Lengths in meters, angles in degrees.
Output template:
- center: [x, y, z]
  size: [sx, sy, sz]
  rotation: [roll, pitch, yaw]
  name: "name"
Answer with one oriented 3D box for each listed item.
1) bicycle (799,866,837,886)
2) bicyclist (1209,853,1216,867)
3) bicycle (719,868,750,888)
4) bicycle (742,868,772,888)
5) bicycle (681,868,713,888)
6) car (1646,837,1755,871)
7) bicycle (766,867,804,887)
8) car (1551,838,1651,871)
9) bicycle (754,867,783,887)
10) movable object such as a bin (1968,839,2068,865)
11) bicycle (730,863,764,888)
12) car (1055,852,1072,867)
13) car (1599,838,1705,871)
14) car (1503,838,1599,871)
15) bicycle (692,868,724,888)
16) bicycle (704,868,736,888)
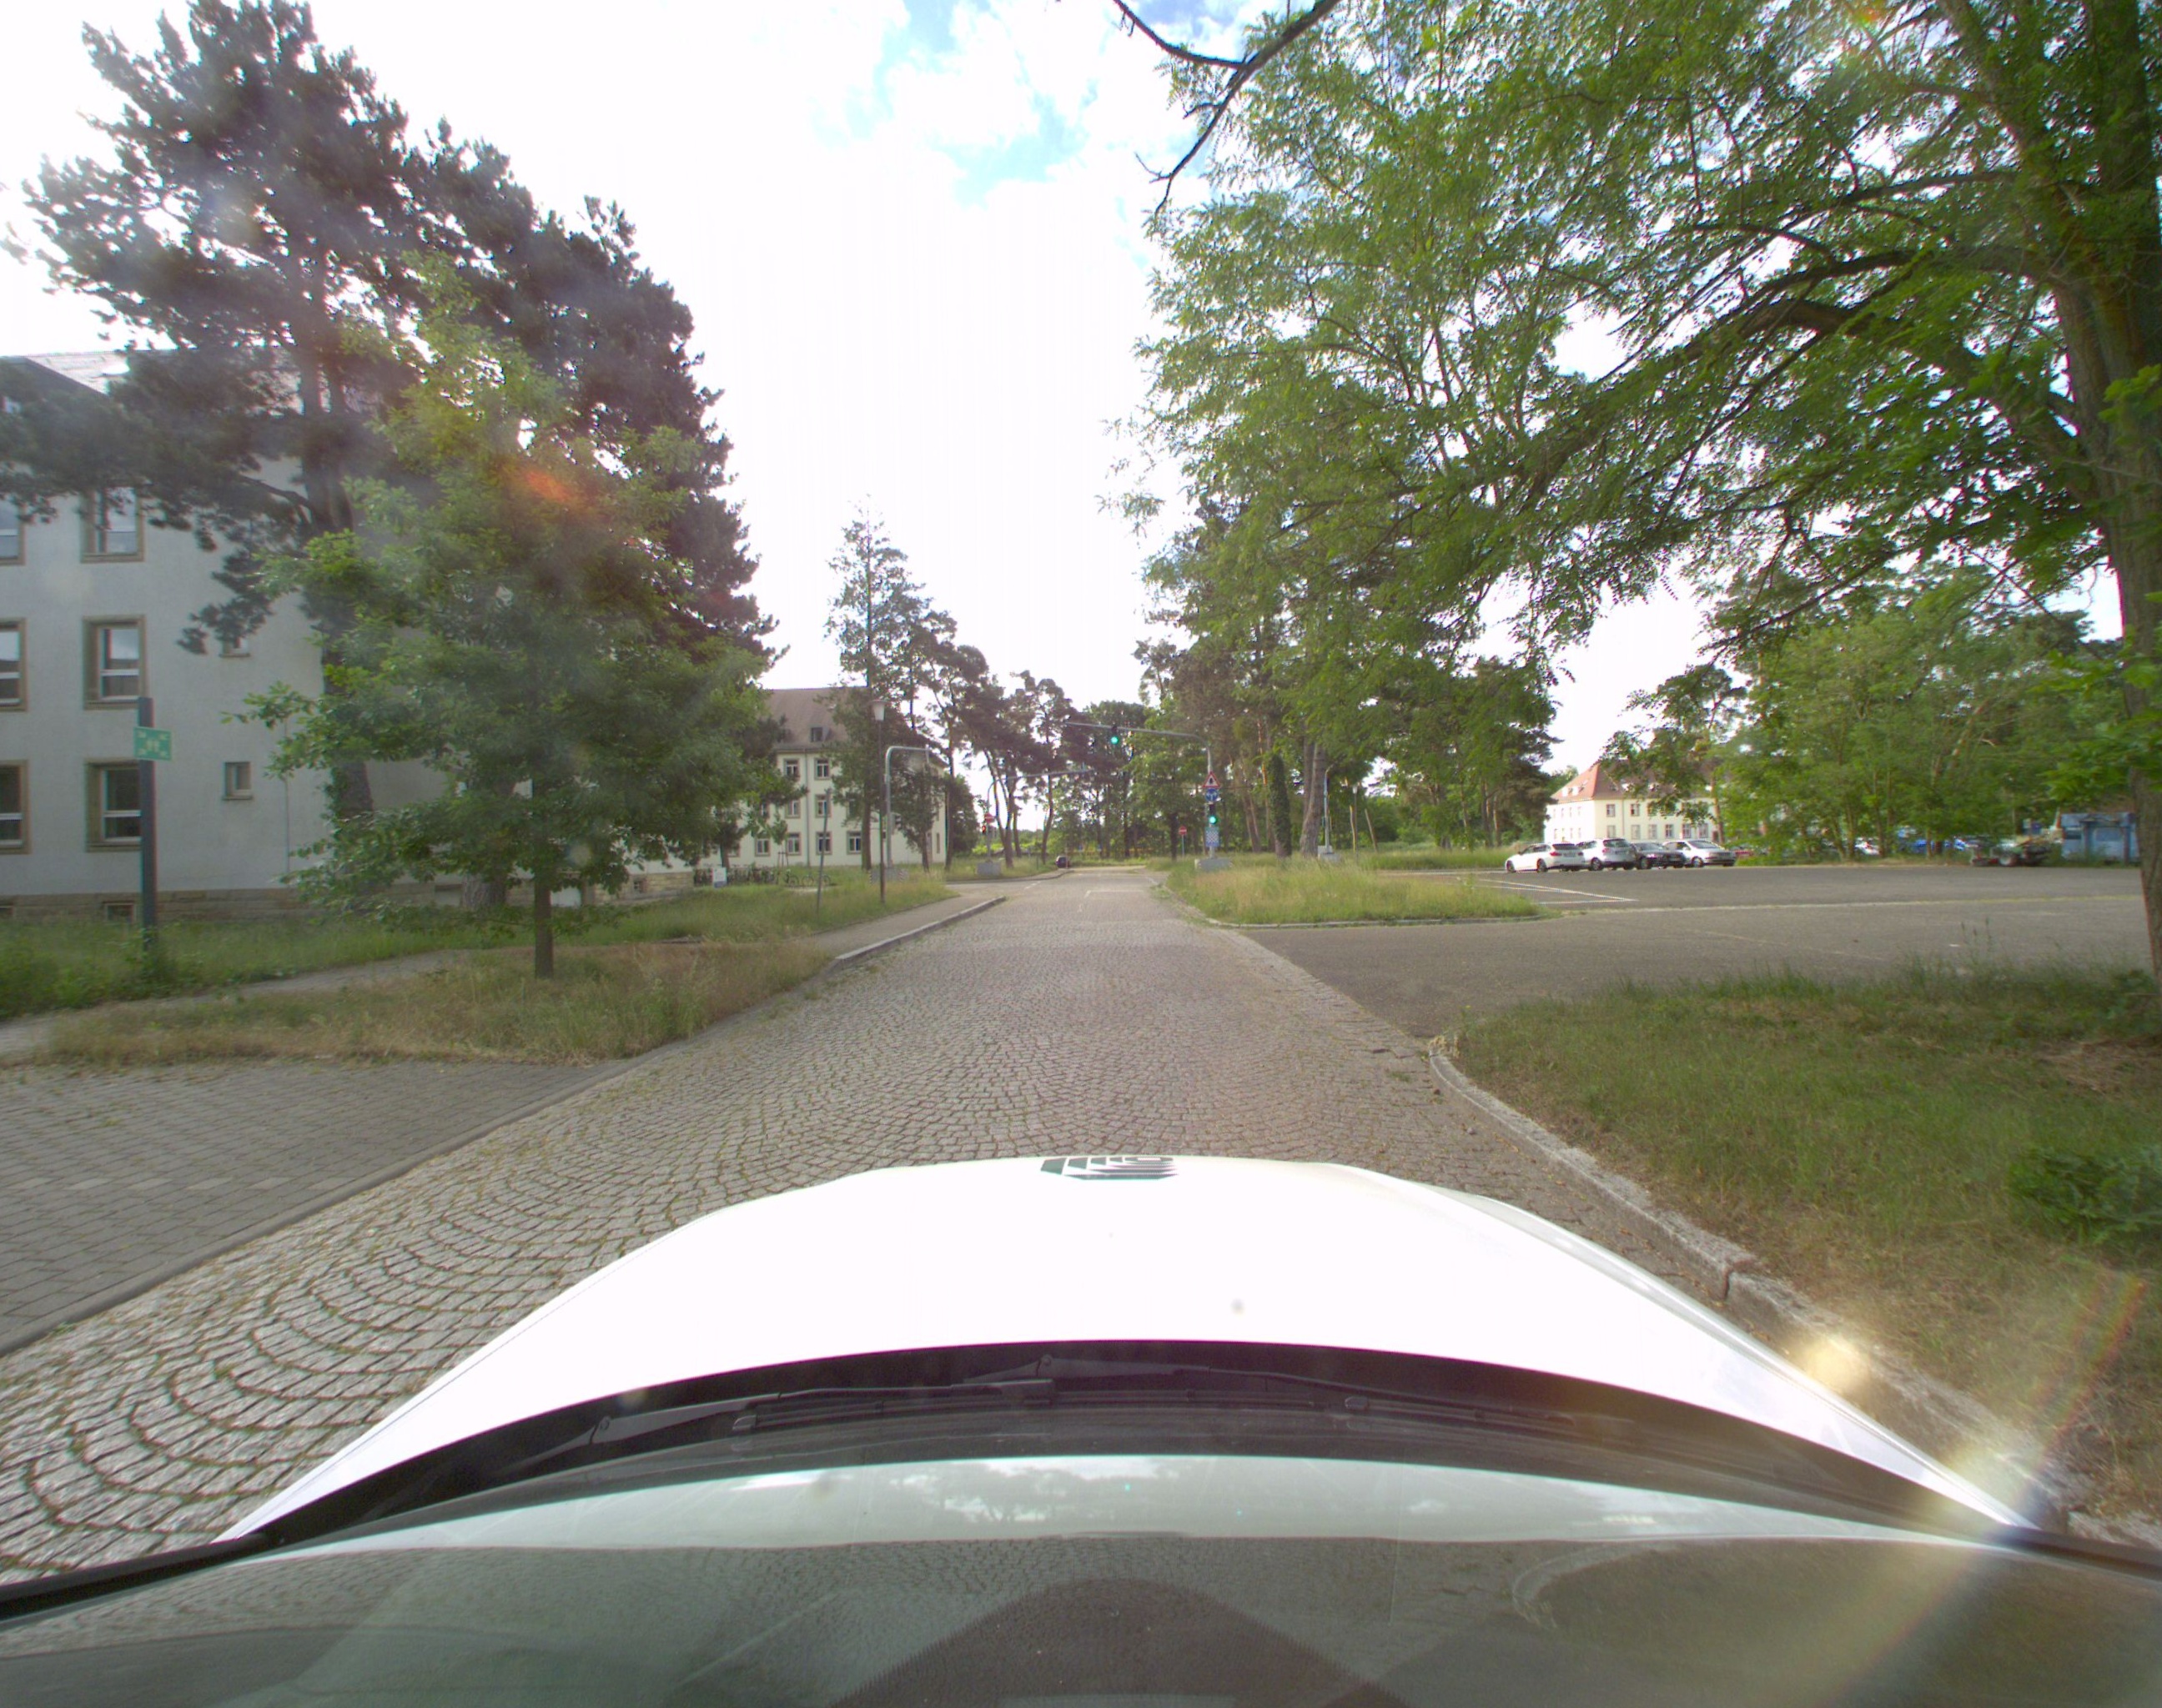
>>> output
- center: [-15.104, 1.261, 46.757]
  size: [1.848, 1.076, 0.832]
  rotation: [-2, 0, 3]
  name: "bicycle"
- center: [16.244, 0.738, 100.701]
  size: [0.750, 1.671, 0.523]
  rotation: [0, -1, -16]
  name: "bicyclist"
- center: [-20.597, 1.402, 48.474]
  size: [0.733, 1.076, 2.274]
  rotation: [-2, 0, 2]
  name: "bicycle"
- center: [-19.071, 1.381, 47.976]
  size: [0.733, 1.076, 2.274]
  rotation: [-2, 0, 2]
  name: "bicycle"
- center: [-22.692, 1.415, 48.176]
  size: [0.733, 1.076, 2.274]
  rotation: [-2, 0, 2]
  name: "bicycle"
- center: [30.653, 0.046, 40.507]
  size: [1.988, 1.523, 4.421]
  rotation: [0, -2, -2]
  name: "car"
- center: [-16.987, 1.311, 46.759]
  size: [1.848, 1.076, 0.739]
  rotation: [-2, 0, 3]
  name: "bicycle"
- center: [25.308, 0.065, 39.853]
  size: [1.988, 1.481, 4.421]
  rotation: [-2, -2, -2]
  name: "car"
- center: [-18.429, 1.359, 48.042]
  size: [0.733, 1.076, 2.274]
  rotation: [-2, 0, 2]
  name: "bicycle"
- center: [31.209, -0.061, 27.181]
  size: [1.179, 0.825, 1.957]
  rotation: [-2, 0, 6]
  name: "movable object such as a bin"
- center: [-19.805, 1.251, 48.348]
  size: [0.733, 1.385, 2.712]
  rotation: [-2, 0, 2]
  name: "bicycle"
- center: [-2.199, 0.732, 103.846]
  size: [2.048, 1.846, 4.001]
  rotation: [-2, 0, 1]
  name: "car"
- center: [27.977, 0.065, 40.088]
  size: [1.988, 1.481, 4.421]
  rotation: [-2, -2, -2]
  name: "car"
- center: [22.793, 0.065, 39.728]
  size: [1.988, 1.481, 4.421]
  rotation: [-2, -2, -2]
  name: "car"
- center: [-21.987, 1.407, 48.083]
  size: [0.733, 1.076, 2.274]
  rotation: [-2, 0, 2]
  name: "bicycle"
- center: [-21.258, 1.392, 47.995]
  size: [0.733, 1.076, 2.274]
  rotation: [-2, 0, 2]
  name: "bicycle"
